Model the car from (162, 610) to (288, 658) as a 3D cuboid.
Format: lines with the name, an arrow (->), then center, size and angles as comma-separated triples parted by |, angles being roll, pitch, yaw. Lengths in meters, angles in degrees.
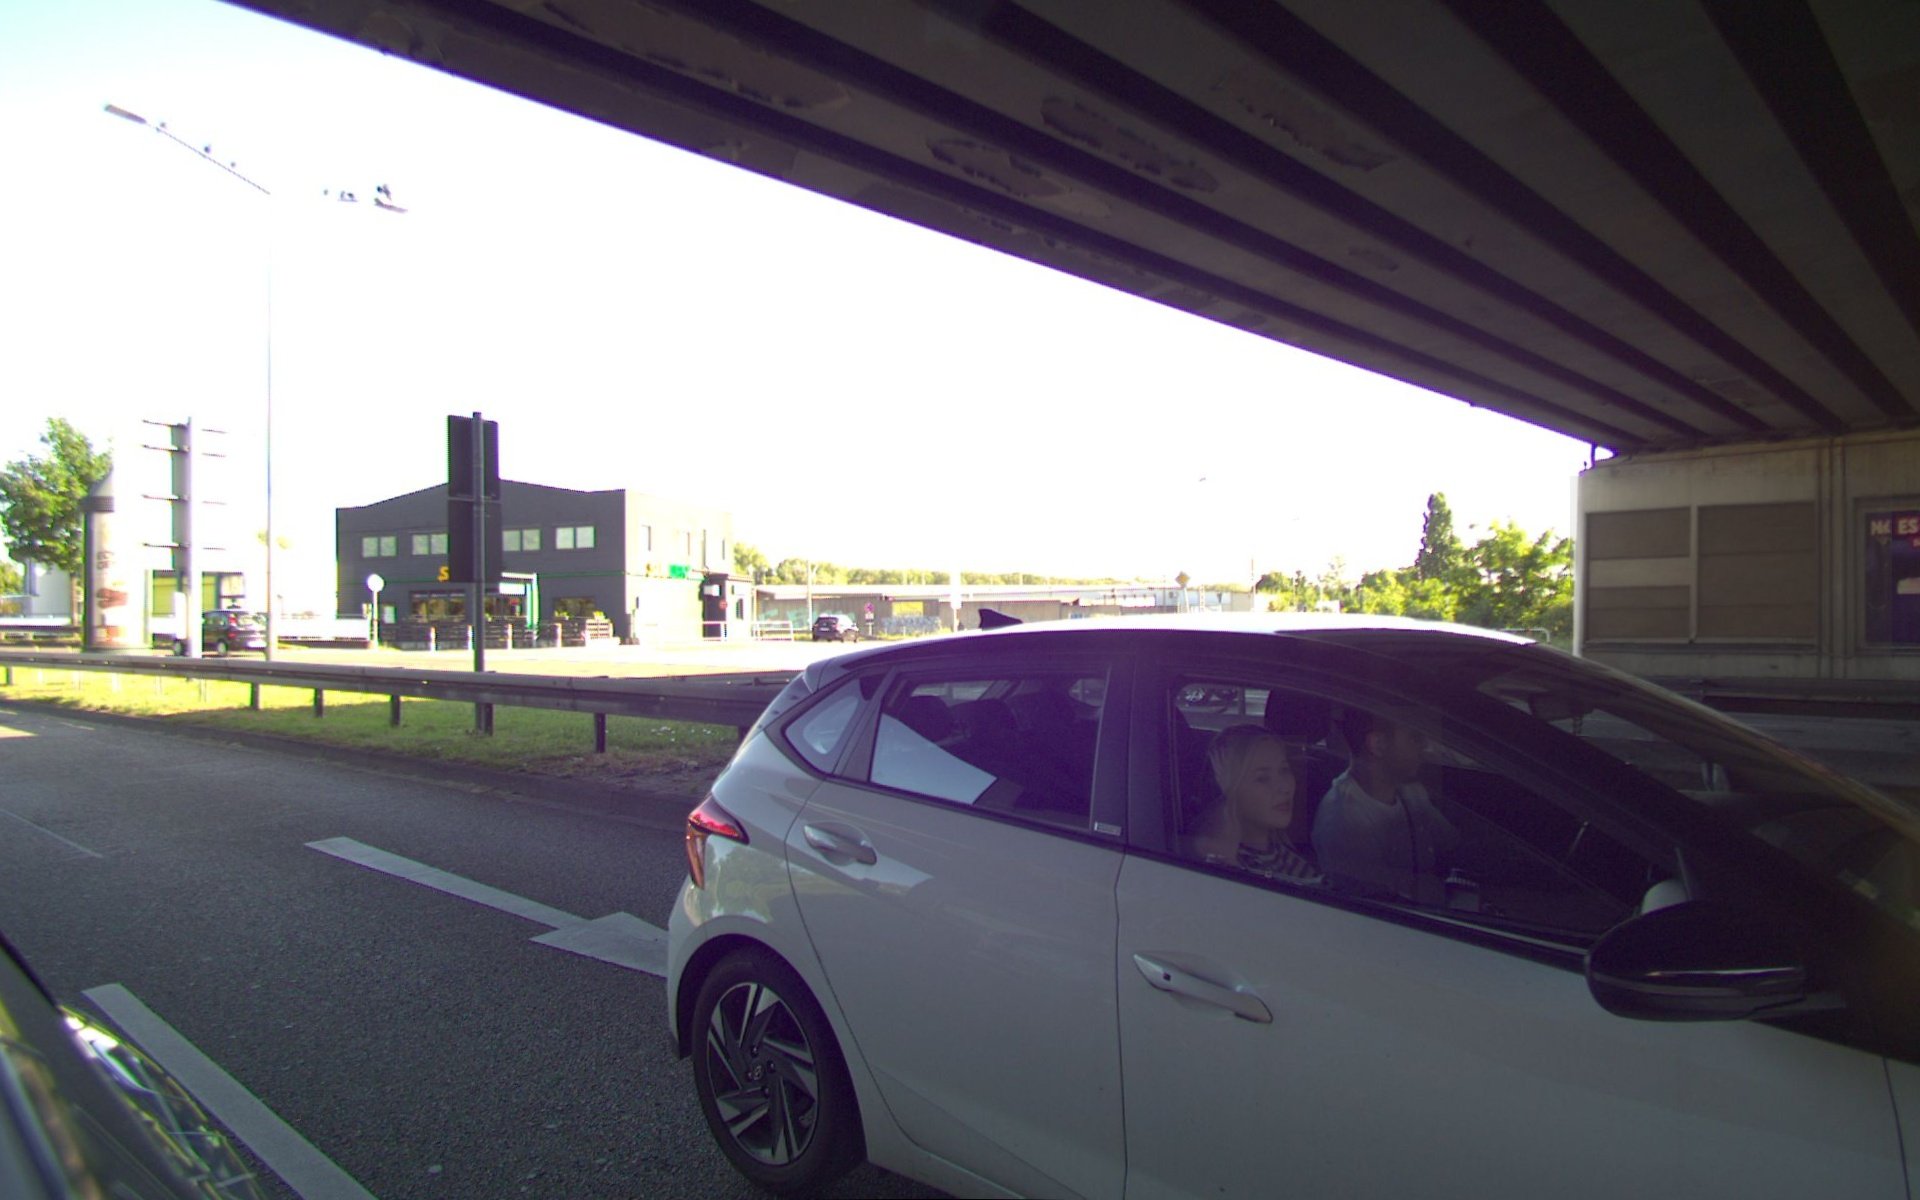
car -> -25.521, 1.185, 35.146 | 4.160, 1.600, 1.814 | -1, -2, 26

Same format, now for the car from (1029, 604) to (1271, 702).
car -> 3.253, 0.890, 17.585 | 3.815, 1.531, 1.605 | -2, -2, 34

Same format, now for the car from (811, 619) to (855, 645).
car -> -6.885, 1.748, 55.127 | 1.805, 1.291, 4.180 | 1, -3, 1

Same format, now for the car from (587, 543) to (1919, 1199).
car -> 1.061, 0.691, 2.205 | 3.986, 1.491, 1.716 | -1, -1, 38
